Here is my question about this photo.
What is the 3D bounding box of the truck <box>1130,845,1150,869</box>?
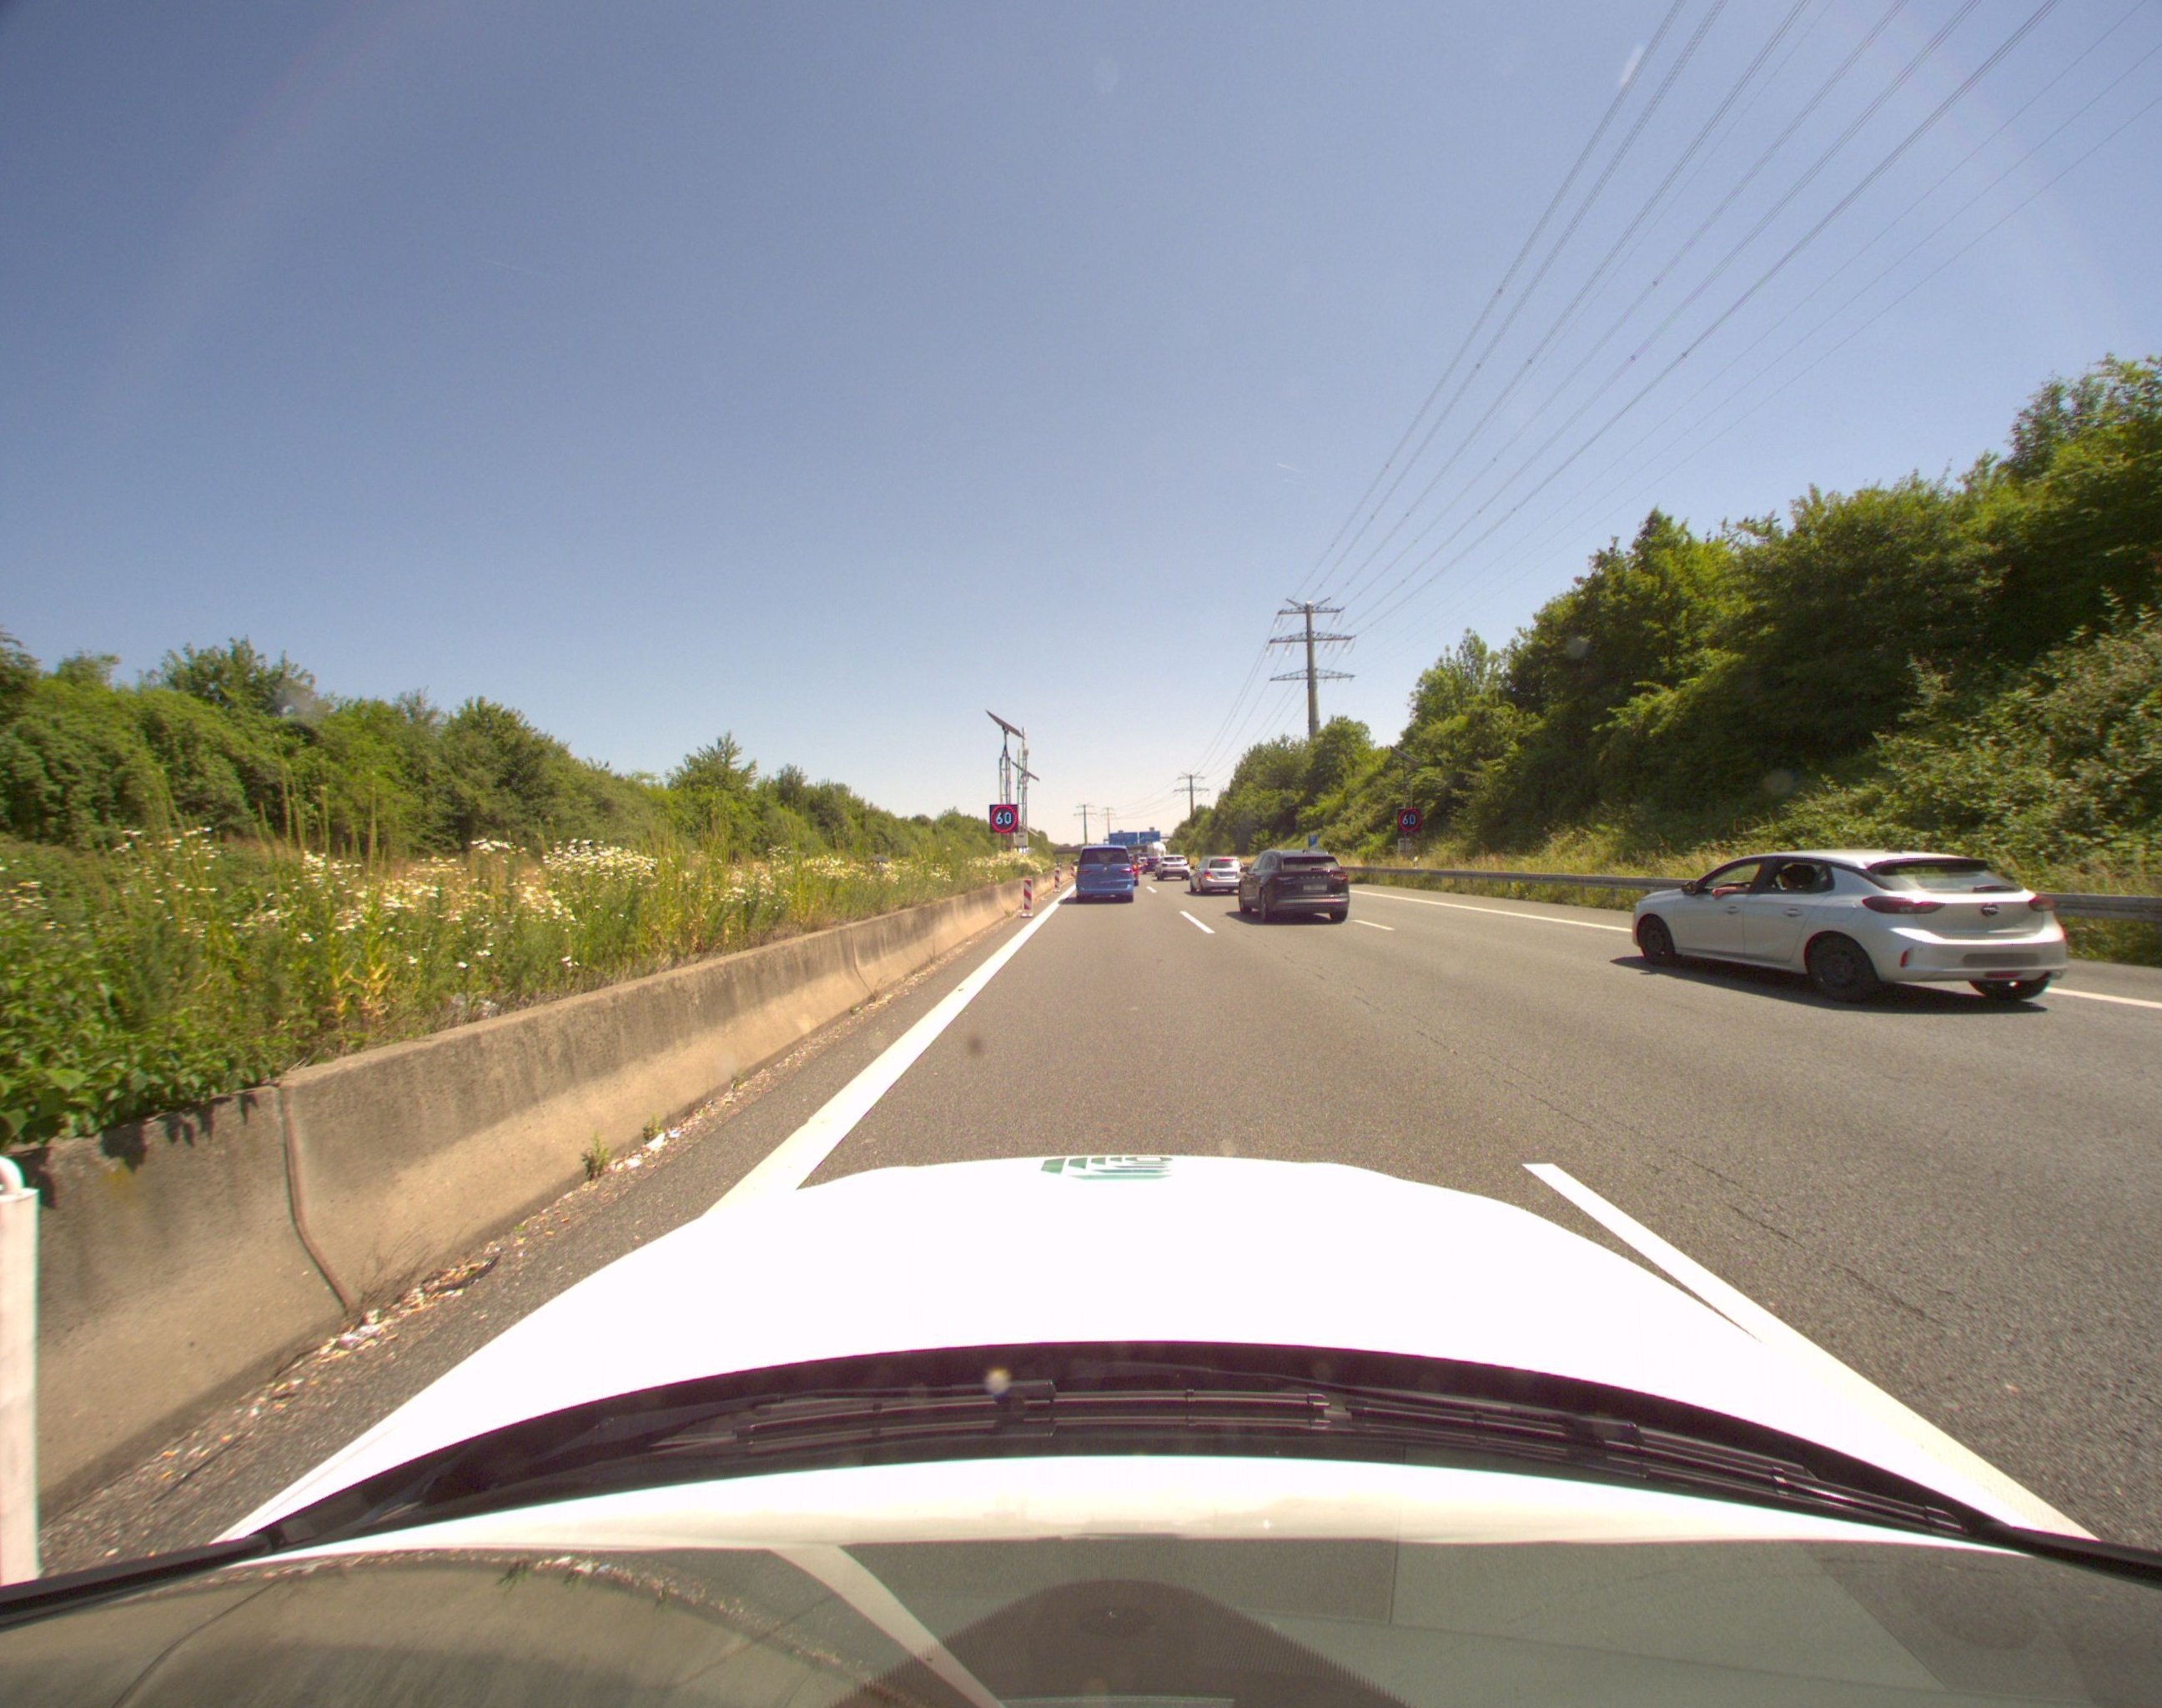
[{"bbox_3d":[6.983,0.351,96.693,1.987,2.723,5.680,0,0,1],"label":"truck"}]

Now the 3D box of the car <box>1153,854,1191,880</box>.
[{"bbox_3d":[5.527,0.783,49.932,1.902,1.508,3.920,0,0,0],"label":"car"}]

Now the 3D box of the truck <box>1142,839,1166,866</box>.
[{"bbox_3d":[11.954,-0.190,134.502,2.636,4.072,16.441,0,0,1],"label":"truck"}]

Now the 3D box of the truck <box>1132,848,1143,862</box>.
[{"bbox_3d":[17.804,0.330,257.143,2.928,4.291,12.552,0,0,1],"label":"truck"}]

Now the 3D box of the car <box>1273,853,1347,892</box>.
[{"bbox_3d":[8.727,0.676,31.369,1.728,1.378,4.303,0,0,1],"label":"car"}]

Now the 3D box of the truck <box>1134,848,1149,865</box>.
[{"bbox_3d":[13.454,0.599,182.142,2.636,3.539,12.552,0,0,1],"label":"truck"}]

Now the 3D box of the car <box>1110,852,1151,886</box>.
[{"bbox_3d":[2.506,0.748,42.061,1.902,1.631,4.383,-1,0,0],"label":"car"}]

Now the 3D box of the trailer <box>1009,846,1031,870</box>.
[{"bbox_3d":[-10.639,0.731,142.750,2.950,4.057,5.435,-3,0,2],"label":"trailer"}]

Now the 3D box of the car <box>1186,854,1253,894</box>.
[{"bbox_3d":[5.283,0.725,31.605,1.815,1.437,4.382,0,0,0],"label":"car"}]

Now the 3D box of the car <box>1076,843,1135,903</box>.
[{"bbox_3d":[0.772,0.604,28.046,1.865,1.879,4.382,0,0,-1],"label":"car"}]

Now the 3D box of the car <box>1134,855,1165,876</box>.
[{"bbox_3d":[5.107,0.819,61.195,1.902,1.516,4.382,0,0,0],"label":"car"}]

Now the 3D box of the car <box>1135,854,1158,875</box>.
[{"bbox_3d":[6.497,1.044,81.225,1.986,2.014,4.001,0,0,1],"label":"car"}]

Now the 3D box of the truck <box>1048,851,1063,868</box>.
[{"bbox_3d":[-6.092,1.368,194.765,2.753,3.888,9.031,-3,0,1],"label":"truck"}]

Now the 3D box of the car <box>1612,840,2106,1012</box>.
[{"bbox_3d":[8.053,0.623,9.071,1.734,1.470,4.015,-1,0,1],"label":"car"}]

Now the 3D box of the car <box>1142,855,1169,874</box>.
[{"bbox_3d":[6.285,0.860,69.273,1.902,1.516,4.382,0,0,0],"label":"car"}]

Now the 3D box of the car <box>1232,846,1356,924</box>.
[{"bbox_3d":[4.860,0.647,19.240,1.822,1.614,4.431,-1,0,1],"label":"car"}]
